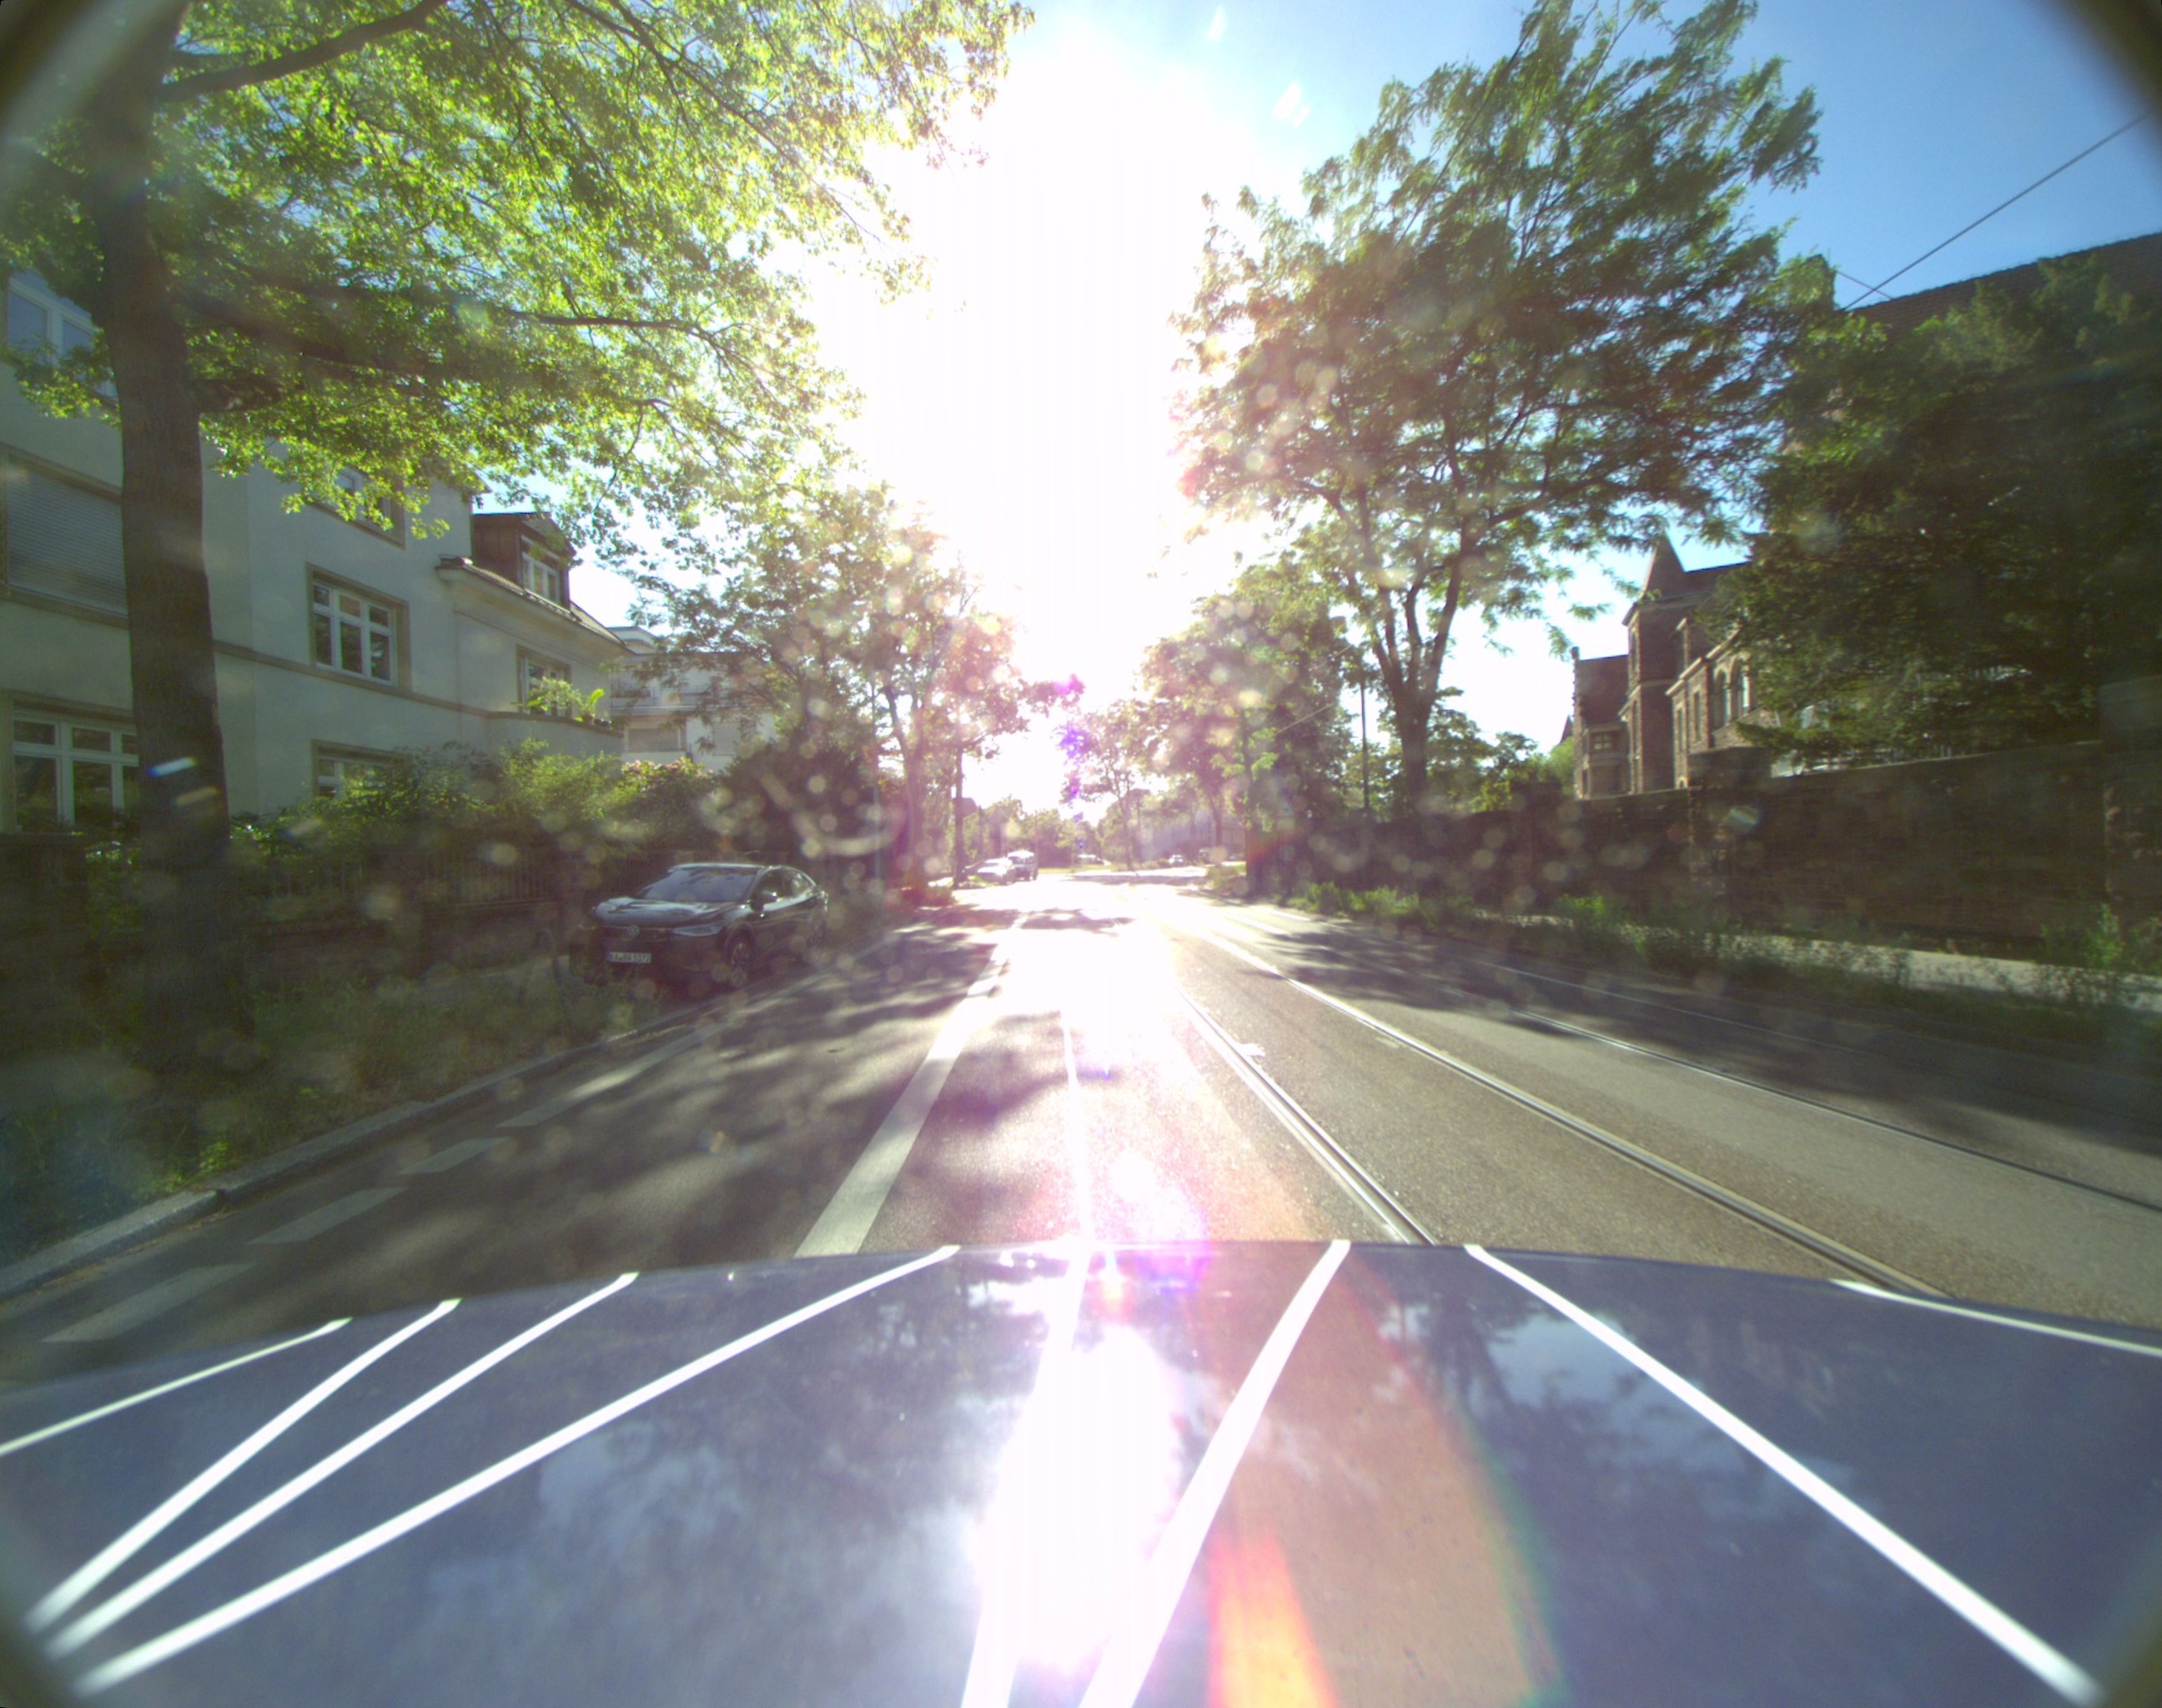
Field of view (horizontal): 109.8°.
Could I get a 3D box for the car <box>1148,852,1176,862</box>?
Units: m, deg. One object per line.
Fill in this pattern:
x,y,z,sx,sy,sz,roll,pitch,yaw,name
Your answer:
13.669,0.520,128.011,4.459,1.482,2.008,-1,4,1,car

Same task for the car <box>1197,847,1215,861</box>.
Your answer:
19.033,-0.010,115.573,1.996,2.083,4.722,-1,0,18,car

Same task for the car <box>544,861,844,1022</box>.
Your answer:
-5.058,0.994,10.853,1.809,1.684,4.728,2,0,0,car

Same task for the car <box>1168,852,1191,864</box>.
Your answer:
12.786,0.497,98.326,2.002,1.457,5.440,2,2,18,car

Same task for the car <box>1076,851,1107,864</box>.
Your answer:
1.779,0.567,128.166,5.209,1.874,2.100,-2,0,1,car

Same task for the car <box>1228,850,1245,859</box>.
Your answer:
29.553,0.044,144.341,1.739,1.487,4.538,-1,0,29,car

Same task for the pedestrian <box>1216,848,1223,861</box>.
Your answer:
20.364,0.032,111.843,0.878,1.854,1.021,-2,1,13,pedestrian

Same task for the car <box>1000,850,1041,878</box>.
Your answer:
-3.971,0.625,50.742,2.027,1.736,4.753,-1,0,4,car

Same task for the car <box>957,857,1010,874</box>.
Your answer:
-8.795,1.063,68.880,4.521,1.361,1.969,-1,0,2,car

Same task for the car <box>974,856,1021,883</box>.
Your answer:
-4.875,0.873,44.803,1.998,1.415,4.333,-1,1,4,car
